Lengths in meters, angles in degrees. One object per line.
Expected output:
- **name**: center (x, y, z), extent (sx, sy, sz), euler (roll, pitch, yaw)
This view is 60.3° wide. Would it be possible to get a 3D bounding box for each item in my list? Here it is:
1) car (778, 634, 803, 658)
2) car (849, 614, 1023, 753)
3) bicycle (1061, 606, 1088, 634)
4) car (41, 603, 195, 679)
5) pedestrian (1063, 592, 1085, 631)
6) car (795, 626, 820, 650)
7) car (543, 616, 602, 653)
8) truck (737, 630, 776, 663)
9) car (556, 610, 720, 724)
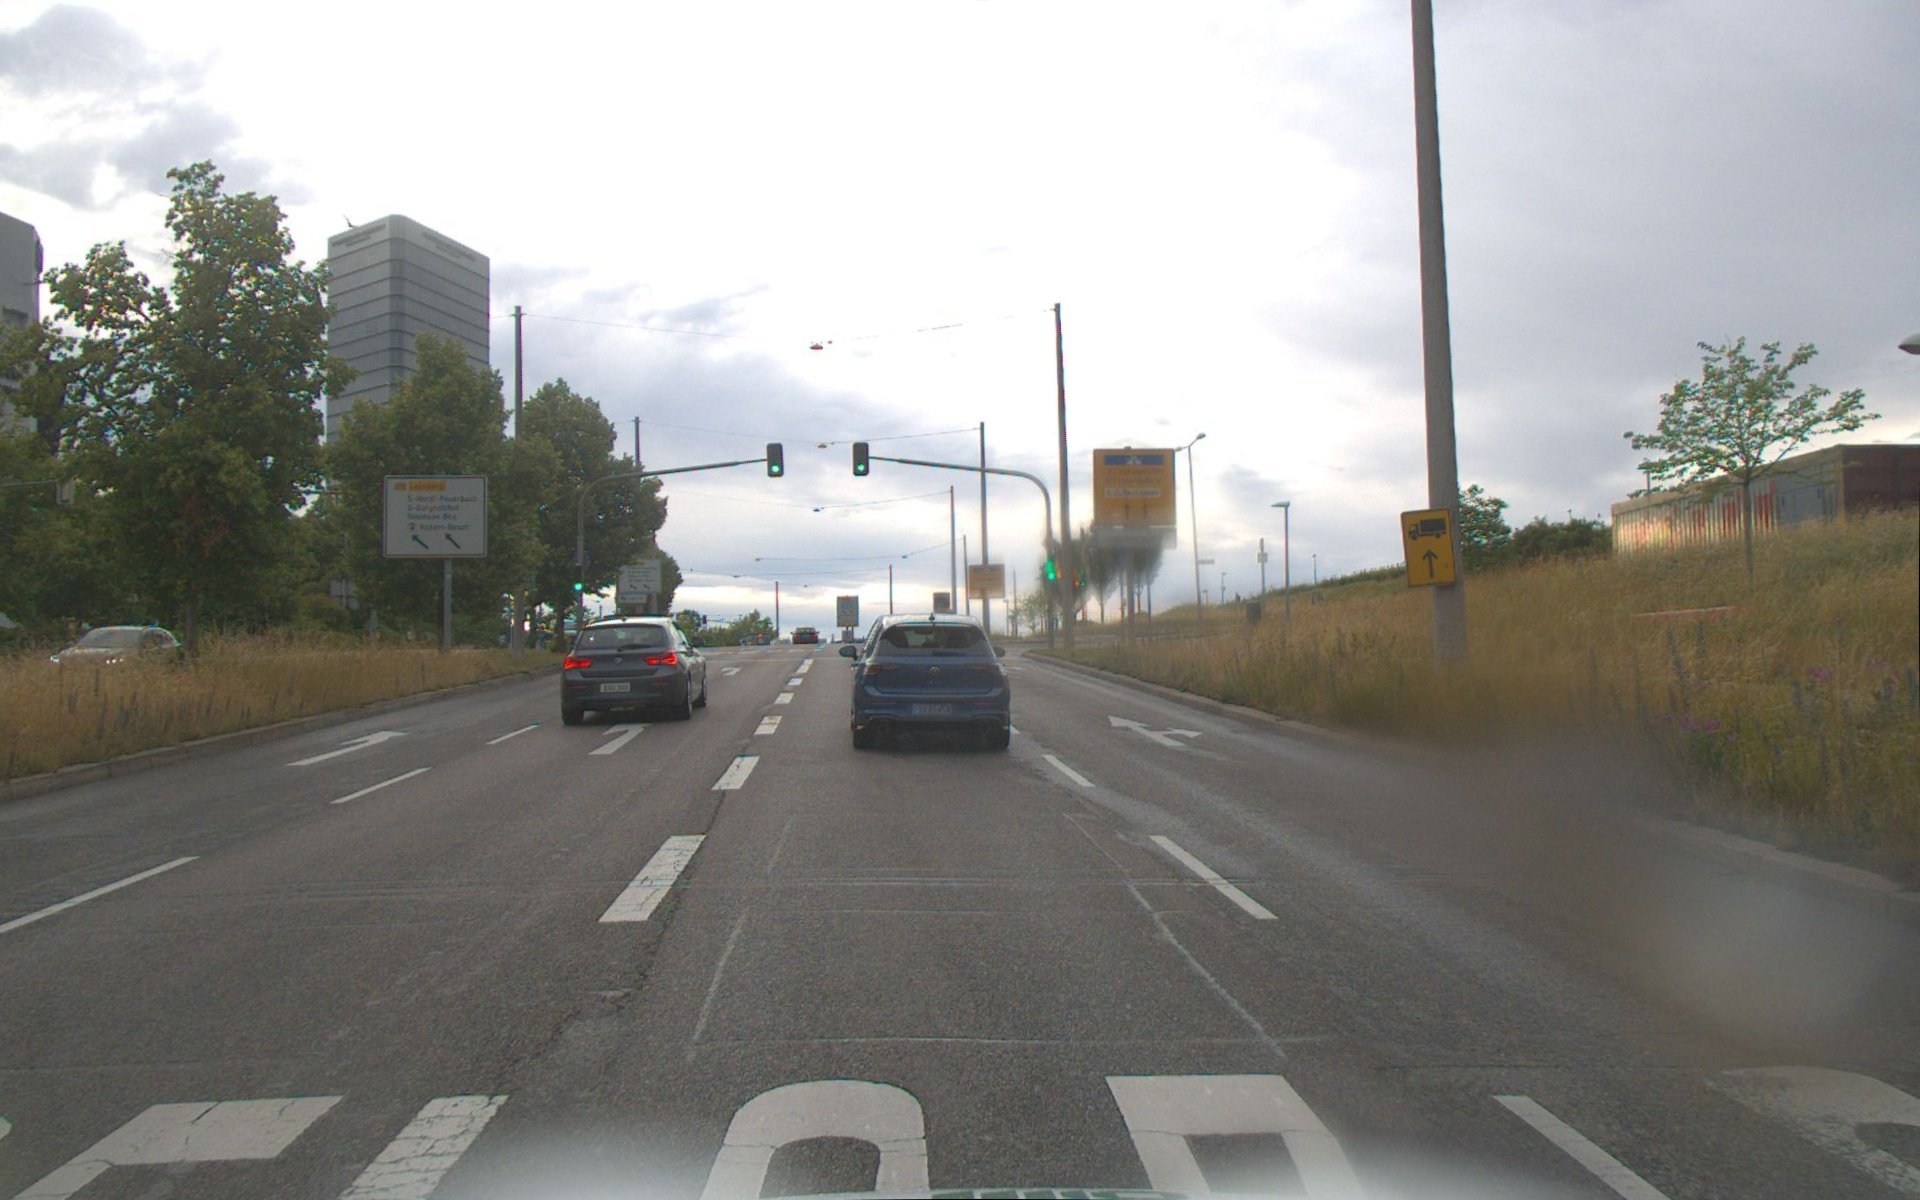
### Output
- **car**: center (-16.259, 4.417, 158.414), extent (1.870, 2.008, 5.077), euler (-2, -4, -11)
- **car**: center (-0.355, 0.884, 19.225), extent (1.801, 1.418, 3.997), euler (0, 0, -3)
- **bicycle**: center (4.716, 0.814, 68.380), extent (0.621, 1.124, 1.748), euler (-2, -1, -12)
- **car**: center (-19.732, 0.920, 38.951), extent (1.956, 1.668, 4.013), euler (0, 0, -7)
- **pedestrian**: center (4.716, 0.477, 68.285), extent (0.621, 1.598, 0.893), euler (-2, -1, -12)
- **car**: center (-10.507, 2.617, 114.048), extent (1.688, 1.568, 3.700), euler (1, -1, -5)
- **car**: center (-18.127, 1.600, 77.293), extent (1.866, 1.533, 3.968), euler (0, 1, -26)
- **truck**: center (-21.436, 4.939, 174.172), extent (2.628, 3.277, 6.506), euler (1, -4, -21)
- **car**: center (-4.556, 0.906, 23.924), extent (1.832, 1.487, 3.972), euler (-1, -1, -4)
